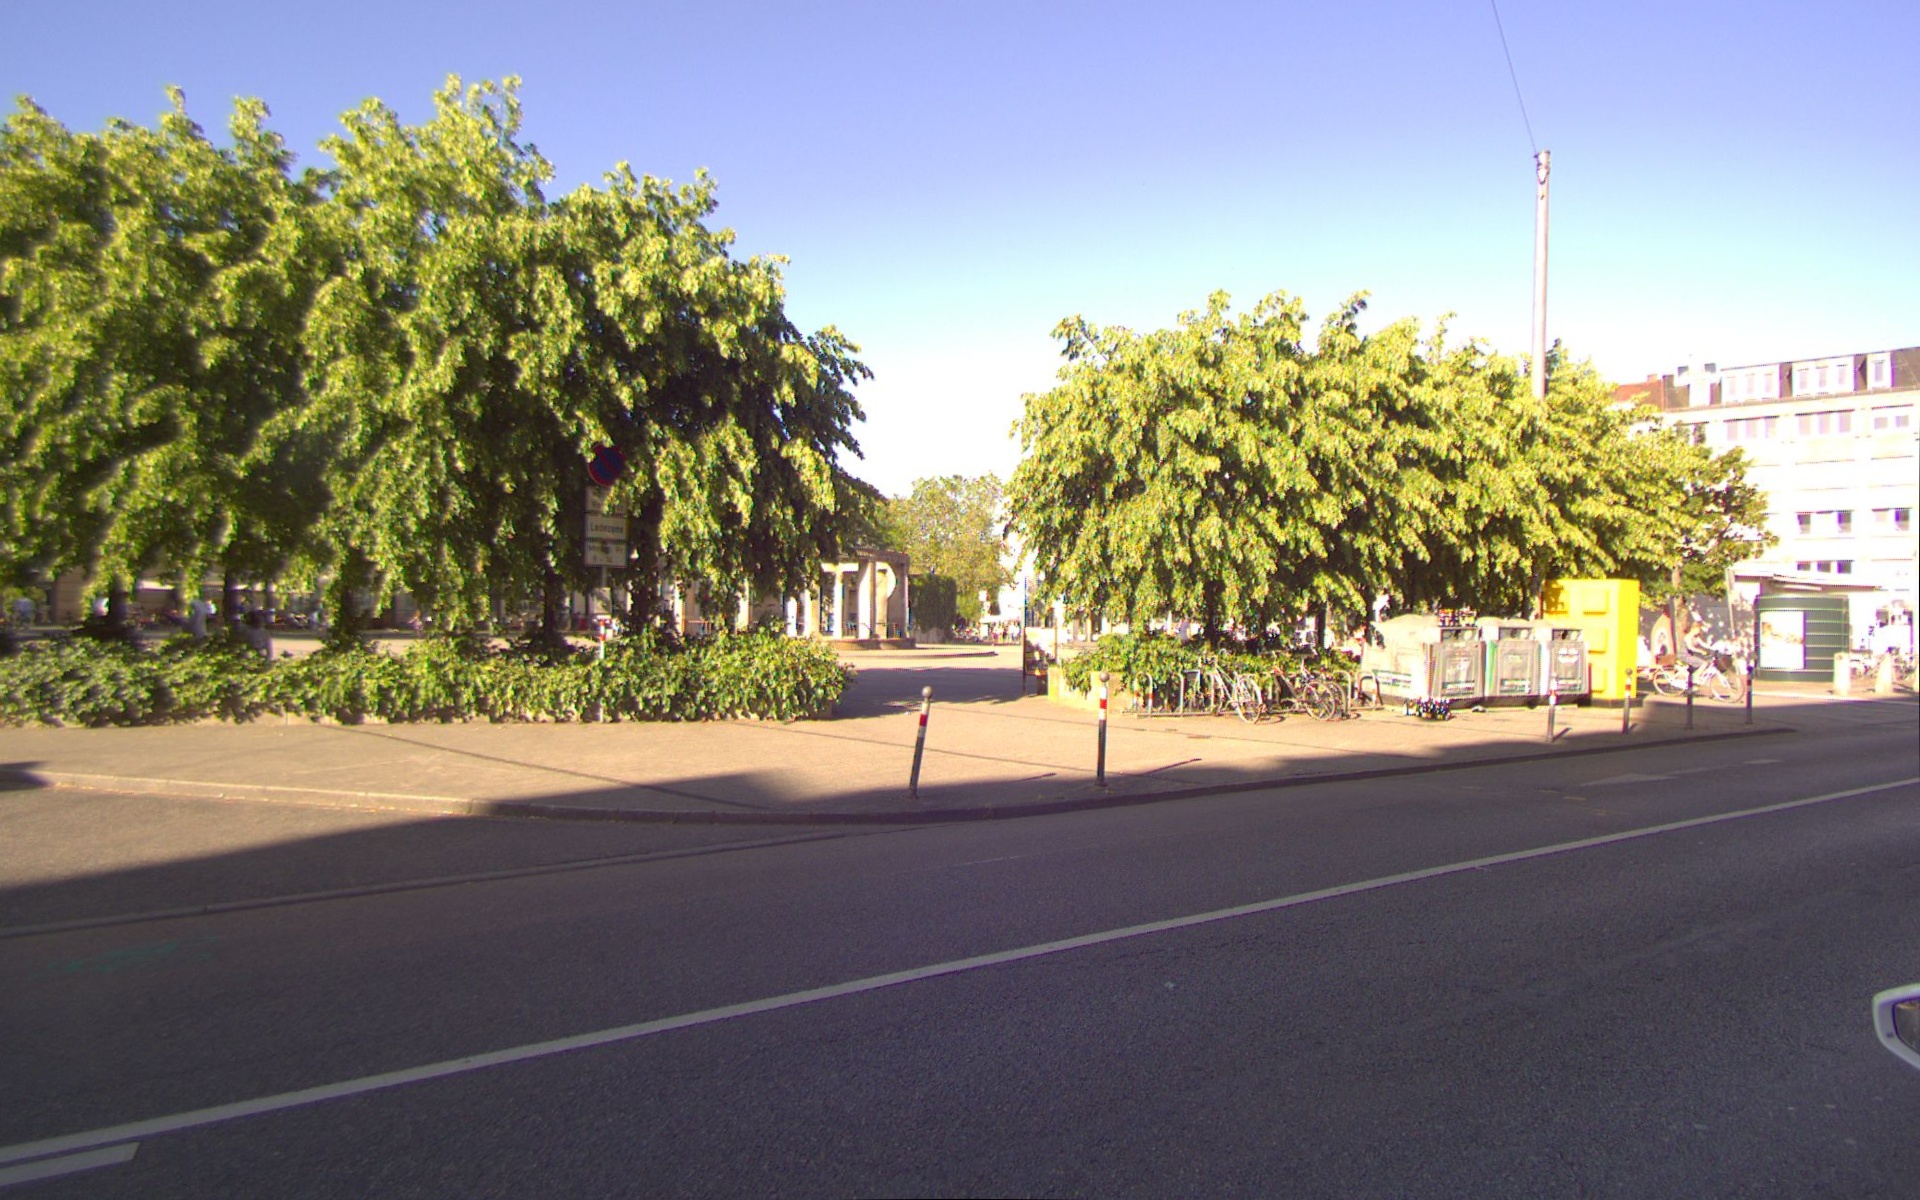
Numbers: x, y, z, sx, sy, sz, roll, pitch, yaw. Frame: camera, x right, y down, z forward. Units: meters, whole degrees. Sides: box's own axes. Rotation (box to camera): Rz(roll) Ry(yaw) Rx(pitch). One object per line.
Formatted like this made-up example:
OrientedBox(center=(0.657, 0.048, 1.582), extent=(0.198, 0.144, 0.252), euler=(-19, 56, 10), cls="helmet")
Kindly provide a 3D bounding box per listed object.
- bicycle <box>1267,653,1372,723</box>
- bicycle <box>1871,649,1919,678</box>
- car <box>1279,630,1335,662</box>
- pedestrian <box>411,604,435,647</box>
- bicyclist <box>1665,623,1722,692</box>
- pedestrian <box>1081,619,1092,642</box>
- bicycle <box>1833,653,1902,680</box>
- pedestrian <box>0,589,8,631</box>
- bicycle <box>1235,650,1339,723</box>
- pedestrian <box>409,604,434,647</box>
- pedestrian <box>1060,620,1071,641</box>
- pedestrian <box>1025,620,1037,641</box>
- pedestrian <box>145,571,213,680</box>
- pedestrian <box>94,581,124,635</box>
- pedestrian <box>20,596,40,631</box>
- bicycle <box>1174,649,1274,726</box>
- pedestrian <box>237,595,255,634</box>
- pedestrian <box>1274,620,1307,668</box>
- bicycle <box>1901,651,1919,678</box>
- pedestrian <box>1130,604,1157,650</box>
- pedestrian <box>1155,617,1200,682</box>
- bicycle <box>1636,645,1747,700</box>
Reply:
OrientedBox(center=(5.825, 1.406, 16.412), extent=(0.508, 0.968, 1.898), euler=(2, 0, -20), cls="bicycle")
OrientedBox(center=(33.180, 2.226, 35.128), extent=(0.599, 0.946, 1.855), euler=(1, -1, -30), cls="bicycle")
OrientedBox(center=(16.678, 2.201, 48.429), extent=(1.658, 1.405, 3.575), euler=(1, -1, 5), cls="car")
OrientedBox(center=(-21.987, 1.040, 41.122), extent=(0.599, 1.744, 0.644), euler=(2, 0, 37), cls="pedestrian")
OrientedBox(center=(16.538, 1.281, 22.639), extent=(0.696, 1.502, 0.883), euler=(2, 0, -41), cls="bicyclist")
OrientedBox(center=(12.588, 3.032, 99.605), extent=(0.860, 2.199, 0.902), euler=(2, 0, -5), cls="pedestrian")
OrientedBox(center=(30.819, 2.250, 34.123), extent=(0.600, 0.802, 1.634), euler=(2, 0, -33), cls="bicycle")
OrientedBox(center=(-39.702, 0.404, 41.383), extent=(0.600, 1.744, 0.643), euler=(2, 0, 45), cls="pedestrian")
OrientedBox(center=(5.260, 1.369, 16.286), extent=(0.508, 1.016, 1.923), euler=(2, 0, -20), cls="bicycle")
OrientedBox(center=(-21.941, 1.040, 40.953), extent=(0.598, 1.744, 0.645), euler=(2, 0, 32), cls="pedestrian")
OrientedBox(center=(10.102, 2.930, 96.496), extent=(0.860, 2.040, 0.902), euler=(2, 0, -5), cls="pedestrian")
OrientedBox(center=(7.172, 3.054, 101.060), extent=(1.014, 2.040, 1.159), euler=(2, 0, -5), cls="pedestrian")
OrientedBox(center=(-12.350, 0.402, 15.897), extent=(0.615, 1.671, 0.654), euler=(2, 0, -16), cls="pedestrian")
OrientedBox(center=(-28.028, 0.276, 33.096), extent=(0.599, 1.744, 0.644), euler=(2, 0, 41), cls="pedestrian")
OrientedBox(center=(-47.309, 0.707, 51.103), extent=(0.599, 1.744, 0.644), euler=(2, 0, 39), cls="pedestrian")
OrientedBox(center=(4.069, 1.330, 15.650), extent=(0.508, 1.029, 1.930), euler=(2, 0, -19), cls="bicycle")
OrientedBox(center=(-36.642, 0.761, 51.550), extent=(0.669, 1.974, 0.634), euler=(2, 0, -33), cls="pedestrian")
OrientedBox(center=(14.437, 1.915, 43.873), extent=(1.034, 2.040, 1.038), euler=(2, 0, -1), cls="pedestrian")
OrientedBox(center=(35.089, 2.337, 36.038), extent=(0.599, 0.946, 1.854), euler=(2, 0, -30), cls="bicycle")
OrientedBox(center=(8.228, 1.192, 45.089), extent=(0.875, 2.040, 0.896), euler=(1, 0, -17), cls="pedestrian")
OrientedBox(center=(7.102, 1.588, 32.785), extent=(0.967, 2.040, 1.042), euler=(2, 0, -42), cls="pedestrian")
OrientedBox(center=(16.496, 1.611, 22.691), extent=(0.703, 1.133, 1.917), euler=(2, -1, -40), cls="bicycle")
